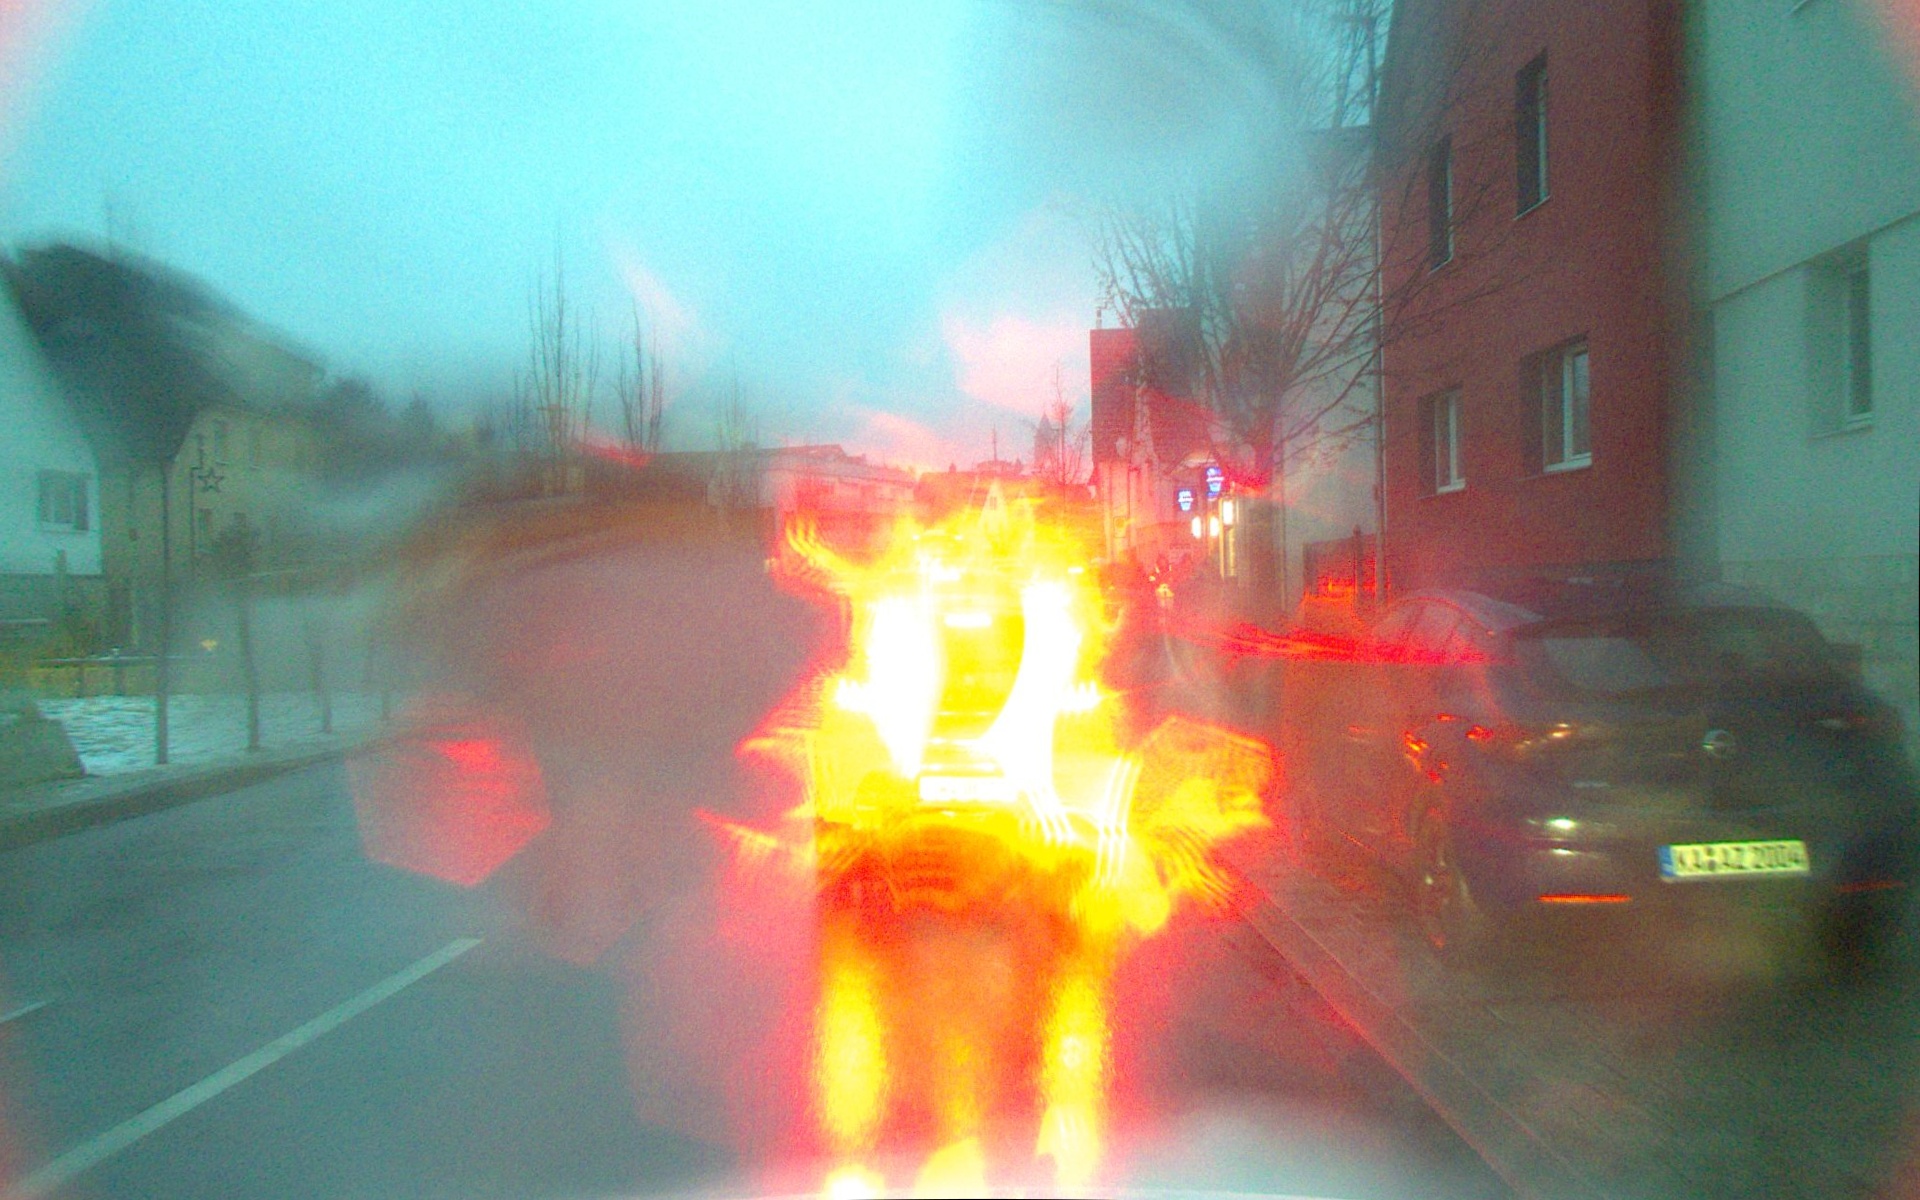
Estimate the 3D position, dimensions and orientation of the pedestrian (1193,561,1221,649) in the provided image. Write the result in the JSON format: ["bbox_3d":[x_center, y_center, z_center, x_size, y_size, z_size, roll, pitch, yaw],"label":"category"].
[{"bbox_3d":[4.765,0.108,31.933,0.517,1.682,0.954,0,-2,9],"label":"pedestrian"}]

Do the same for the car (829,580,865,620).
[{"bbox_3d":[-6.258,0.015,91.714,1.881,2.063,3.973,1,-2,-2],"label":"car"}]

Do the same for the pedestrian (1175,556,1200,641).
[{"bbox_3d":[5.008,-0.041,36.324,0.517,1.831,0.865,0,1,9],"label":"pedestrian"}]

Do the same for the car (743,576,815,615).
[{"bbox_3d":[-10.781,-0.228,98.286,4.311,2.204,1.986,-1,-2,44],"label":"car"}]

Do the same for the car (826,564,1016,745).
[{"bbox_3d":[-0.376,0.478,17.046,1.730,1.657,3.585,1,1,-1],"label":"car"}]

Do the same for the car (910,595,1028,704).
[{"bbox_3d":[0.098,0.637,23.015,1.509,1.355,3.311,1,1,-1],"label":"car"}]

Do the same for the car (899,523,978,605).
[{"bbox_3d":[-0.972,-1.421,68.981,3.126,3.085,6.302,1,-2,-2],"label":"car"}]

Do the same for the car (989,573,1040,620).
[{"bbox_3d":[2.244,-0.157,68.939,1.957,1.897,4.083,0,0,0],"label":"car"}]

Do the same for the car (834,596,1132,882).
[{"bbox_3d":[0.107,0.720,10.082,1.531,1.437,3.017,1,1,-1],"label":"car"}]

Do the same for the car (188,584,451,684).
[{"bbox_3d":[-9.739,0.497,25.319,3.375,1.396,1.600,-1,1,-2],"label":"car"}]

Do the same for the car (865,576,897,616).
[{"bbox_3d":[-4.760,-0.217,99.621,1.881,2.254,3.973,1,-2,-2],"label":"car"}]

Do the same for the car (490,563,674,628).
[{"bbox_3d":[-10.078,-0.110,44.398,4.533,1.697,1.999,0,0,-3],"label":"car"}]

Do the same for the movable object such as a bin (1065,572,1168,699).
[{"bbox_3d":[1.933,0.418,20.675,1.106,1.445,1.418,-4,1,2],"label":"movable object such as a bin"}]

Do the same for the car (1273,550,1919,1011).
[{"bbox_3d":[2.705,0.582,7.791,1.693,1.490,4.200,-4,1,2],"label":"car"}]

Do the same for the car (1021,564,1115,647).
[{"bbox_3d":[2.343,0.096,36.916,1.700,1.722,4.385,-1,0,-1],"label":"car"}]

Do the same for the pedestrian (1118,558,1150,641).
[{"bbox_3d":[3.724,-0.006,35.452,0.561,1.729,0.653,-3,0,1],"label":"pedestrian"}]

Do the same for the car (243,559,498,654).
[{"bbox_3d":[-9.976,0.113,28.137,3.713,1.549,1.716,0,0,6],"label":"car"}]

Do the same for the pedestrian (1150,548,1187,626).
[{"bbox_3d":[4.815,-0.311,38.127,0.697,1.745,1.035,-2,1,13],"label":"pedestrian"}]
